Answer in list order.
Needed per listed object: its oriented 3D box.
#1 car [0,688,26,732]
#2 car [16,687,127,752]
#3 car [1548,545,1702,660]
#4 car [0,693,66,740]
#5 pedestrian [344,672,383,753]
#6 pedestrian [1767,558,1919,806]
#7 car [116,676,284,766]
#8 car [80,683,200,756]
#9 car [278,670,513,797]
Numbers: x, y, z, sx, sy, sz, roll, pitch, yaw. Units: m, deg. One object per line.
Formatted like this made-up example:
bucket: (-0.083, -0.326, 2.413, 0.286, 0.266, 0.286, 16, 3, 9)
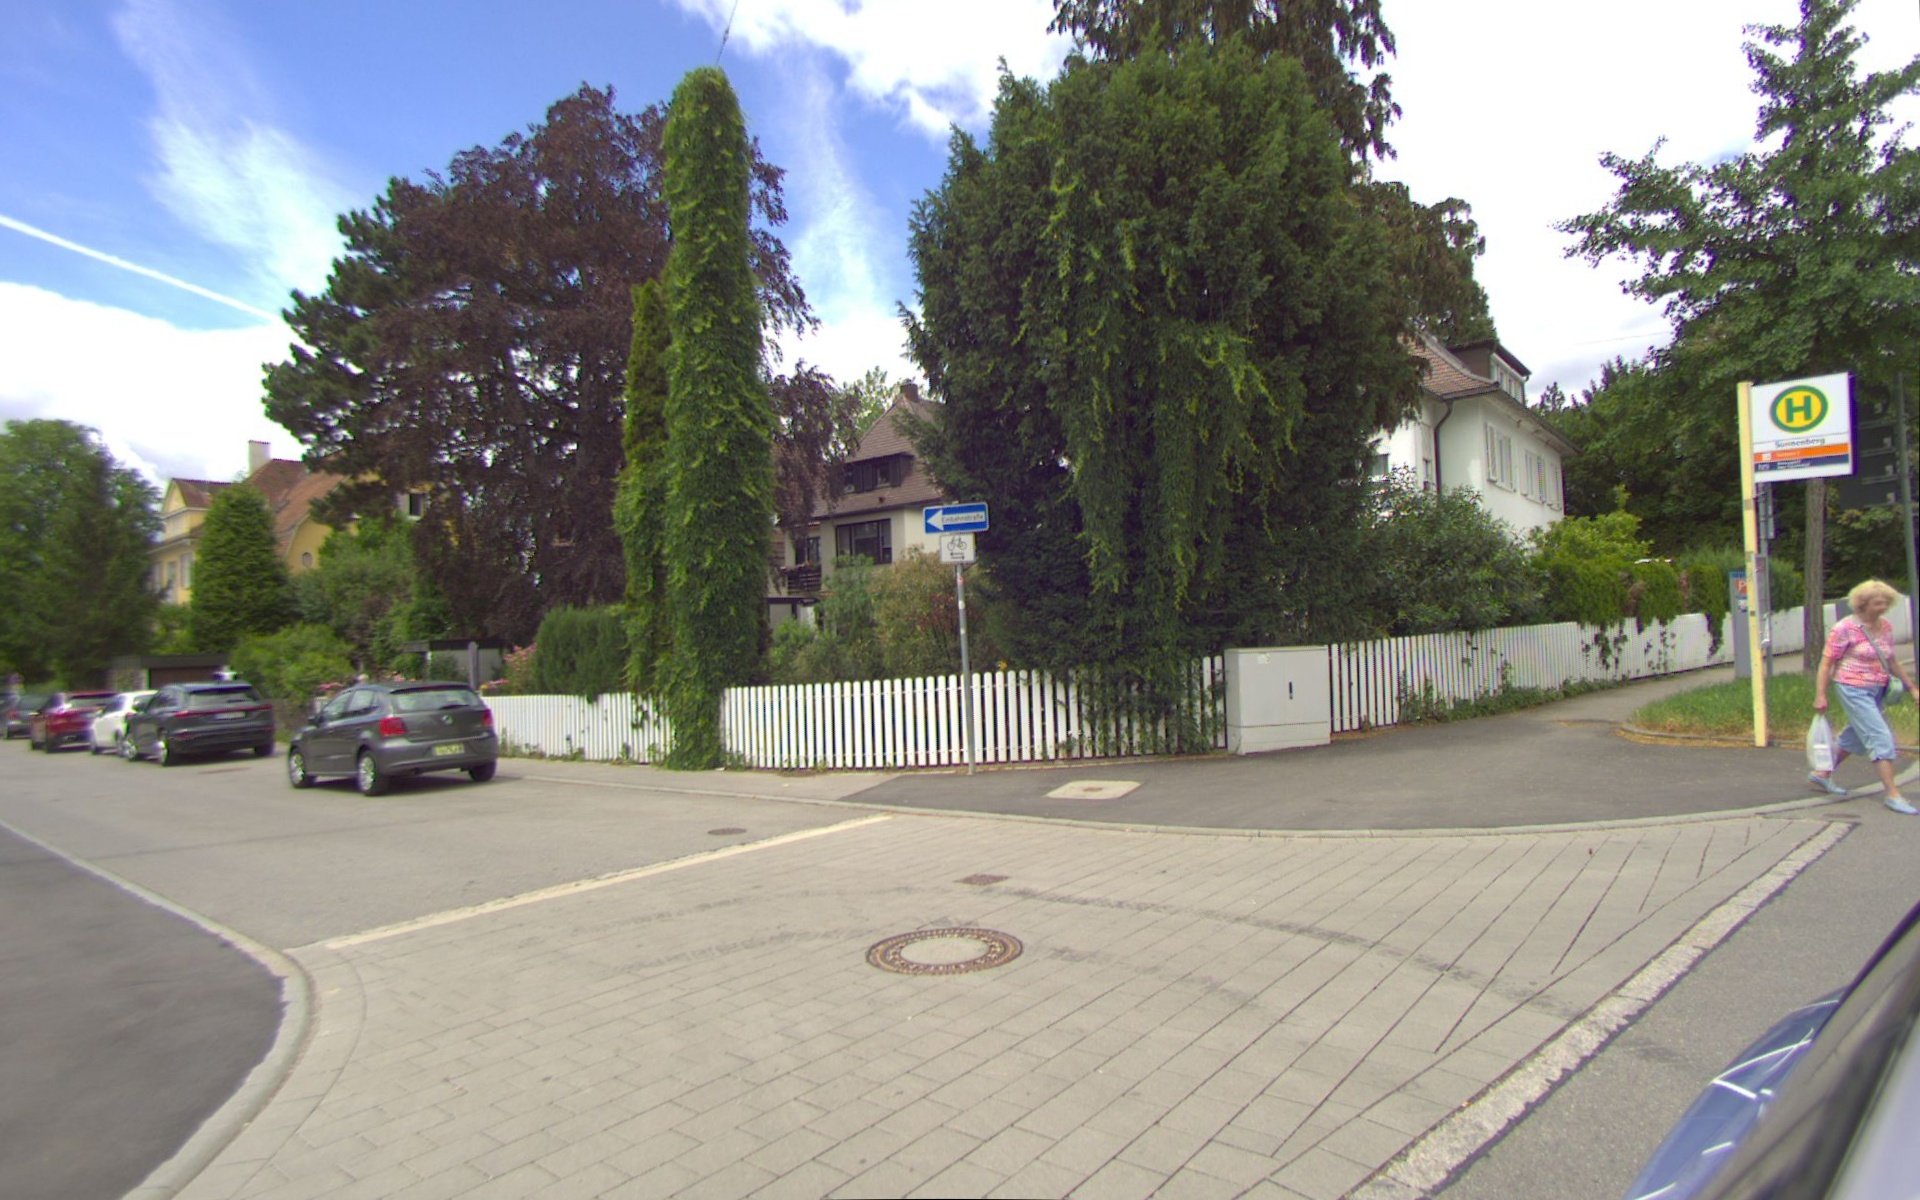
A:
car: (-39.896, 4.564, 41.626, 3.439, 1.731, 1.639, -5, -3, 38)
car: (-24.650, 3.282, 28.046, 3.873, 1.564, 1.639, -5, -3, 38)
car: (18.021, 0.073, 27.320, 2.495, 2.717, 5.107, -6, -3, 42)
car: (-34.064, 4.234, 36.872, 3.439, 1.469, 1.639, -5, -3, 38)
pedestrian: (-12.013, 2.254, 20.381, 0.566, 1.568, 0.544, -1, -4, -39)
pedestrian: (6.557, 0.547, 7.371, 0.868, 1.666, 0.856, -1, 0, -38)
car: (-16.380, 2.567, 21.742, 4.320, 1.628, 1.862, -5, -3, 38)
car: (-20.423, 2.953, 25.184, 3.326, 1.564, 1.639, -5, -3, 38)
car: (-8.059, 1.838, 14.358, 3.513, 1.477, 1.691, -5, -3, 38)
